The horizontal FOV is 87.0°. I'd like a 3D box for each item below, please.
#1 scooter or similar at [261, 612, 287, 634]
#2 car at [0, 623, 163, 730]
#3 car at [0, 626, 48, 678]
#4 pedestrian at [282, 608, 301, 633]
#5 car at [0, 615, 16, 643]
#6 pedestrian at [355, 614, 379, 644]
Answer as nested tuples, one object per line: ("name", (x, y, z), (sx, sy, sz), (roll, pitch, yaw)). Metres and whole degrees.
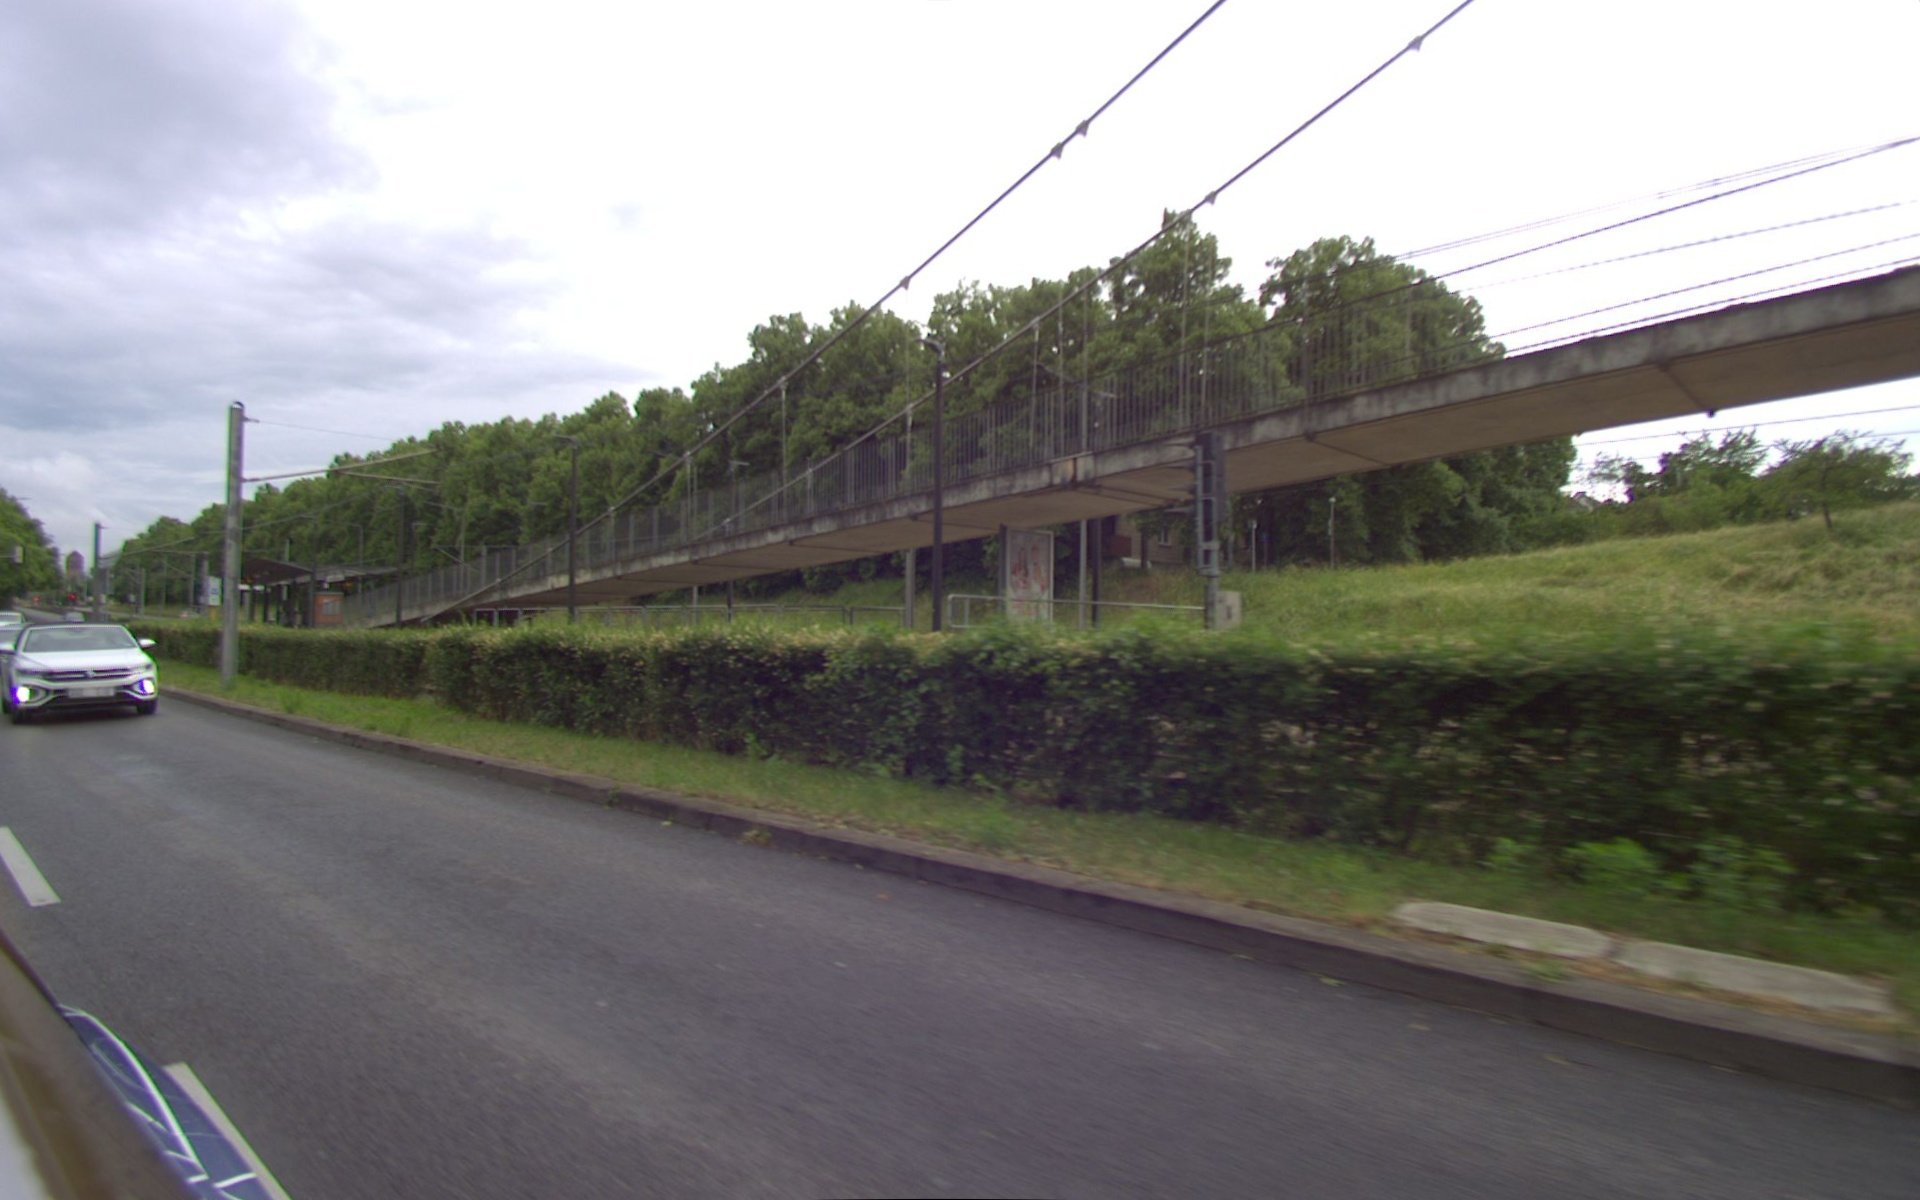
("scooter or similar", (-40.397, 1.348, 59.602), (1.283, 1.227, 0.379), (-1, 1, 3))
("car", (-14.952, 1.154, 16.876), (4.700, 1.476, 1.934), (-1, 0, 43))
("car", (-30.290, 1.622, 32.106), (1.931, 1.492, 4.706), (-2, 0, -41))
("pedestrian", (-37.682, 1.160, 57.030), (0.744, 1.366, 0.693), (1, -1, -44))
("car", (-71.247, 2.143, 74.809), (1.931, 1.940, 4.852), (-1, 0, -41))
("pedestrian", (-32.691, 1.583, 55.800), (0.924, 1.623, 1.028), (1, -1, -43))
